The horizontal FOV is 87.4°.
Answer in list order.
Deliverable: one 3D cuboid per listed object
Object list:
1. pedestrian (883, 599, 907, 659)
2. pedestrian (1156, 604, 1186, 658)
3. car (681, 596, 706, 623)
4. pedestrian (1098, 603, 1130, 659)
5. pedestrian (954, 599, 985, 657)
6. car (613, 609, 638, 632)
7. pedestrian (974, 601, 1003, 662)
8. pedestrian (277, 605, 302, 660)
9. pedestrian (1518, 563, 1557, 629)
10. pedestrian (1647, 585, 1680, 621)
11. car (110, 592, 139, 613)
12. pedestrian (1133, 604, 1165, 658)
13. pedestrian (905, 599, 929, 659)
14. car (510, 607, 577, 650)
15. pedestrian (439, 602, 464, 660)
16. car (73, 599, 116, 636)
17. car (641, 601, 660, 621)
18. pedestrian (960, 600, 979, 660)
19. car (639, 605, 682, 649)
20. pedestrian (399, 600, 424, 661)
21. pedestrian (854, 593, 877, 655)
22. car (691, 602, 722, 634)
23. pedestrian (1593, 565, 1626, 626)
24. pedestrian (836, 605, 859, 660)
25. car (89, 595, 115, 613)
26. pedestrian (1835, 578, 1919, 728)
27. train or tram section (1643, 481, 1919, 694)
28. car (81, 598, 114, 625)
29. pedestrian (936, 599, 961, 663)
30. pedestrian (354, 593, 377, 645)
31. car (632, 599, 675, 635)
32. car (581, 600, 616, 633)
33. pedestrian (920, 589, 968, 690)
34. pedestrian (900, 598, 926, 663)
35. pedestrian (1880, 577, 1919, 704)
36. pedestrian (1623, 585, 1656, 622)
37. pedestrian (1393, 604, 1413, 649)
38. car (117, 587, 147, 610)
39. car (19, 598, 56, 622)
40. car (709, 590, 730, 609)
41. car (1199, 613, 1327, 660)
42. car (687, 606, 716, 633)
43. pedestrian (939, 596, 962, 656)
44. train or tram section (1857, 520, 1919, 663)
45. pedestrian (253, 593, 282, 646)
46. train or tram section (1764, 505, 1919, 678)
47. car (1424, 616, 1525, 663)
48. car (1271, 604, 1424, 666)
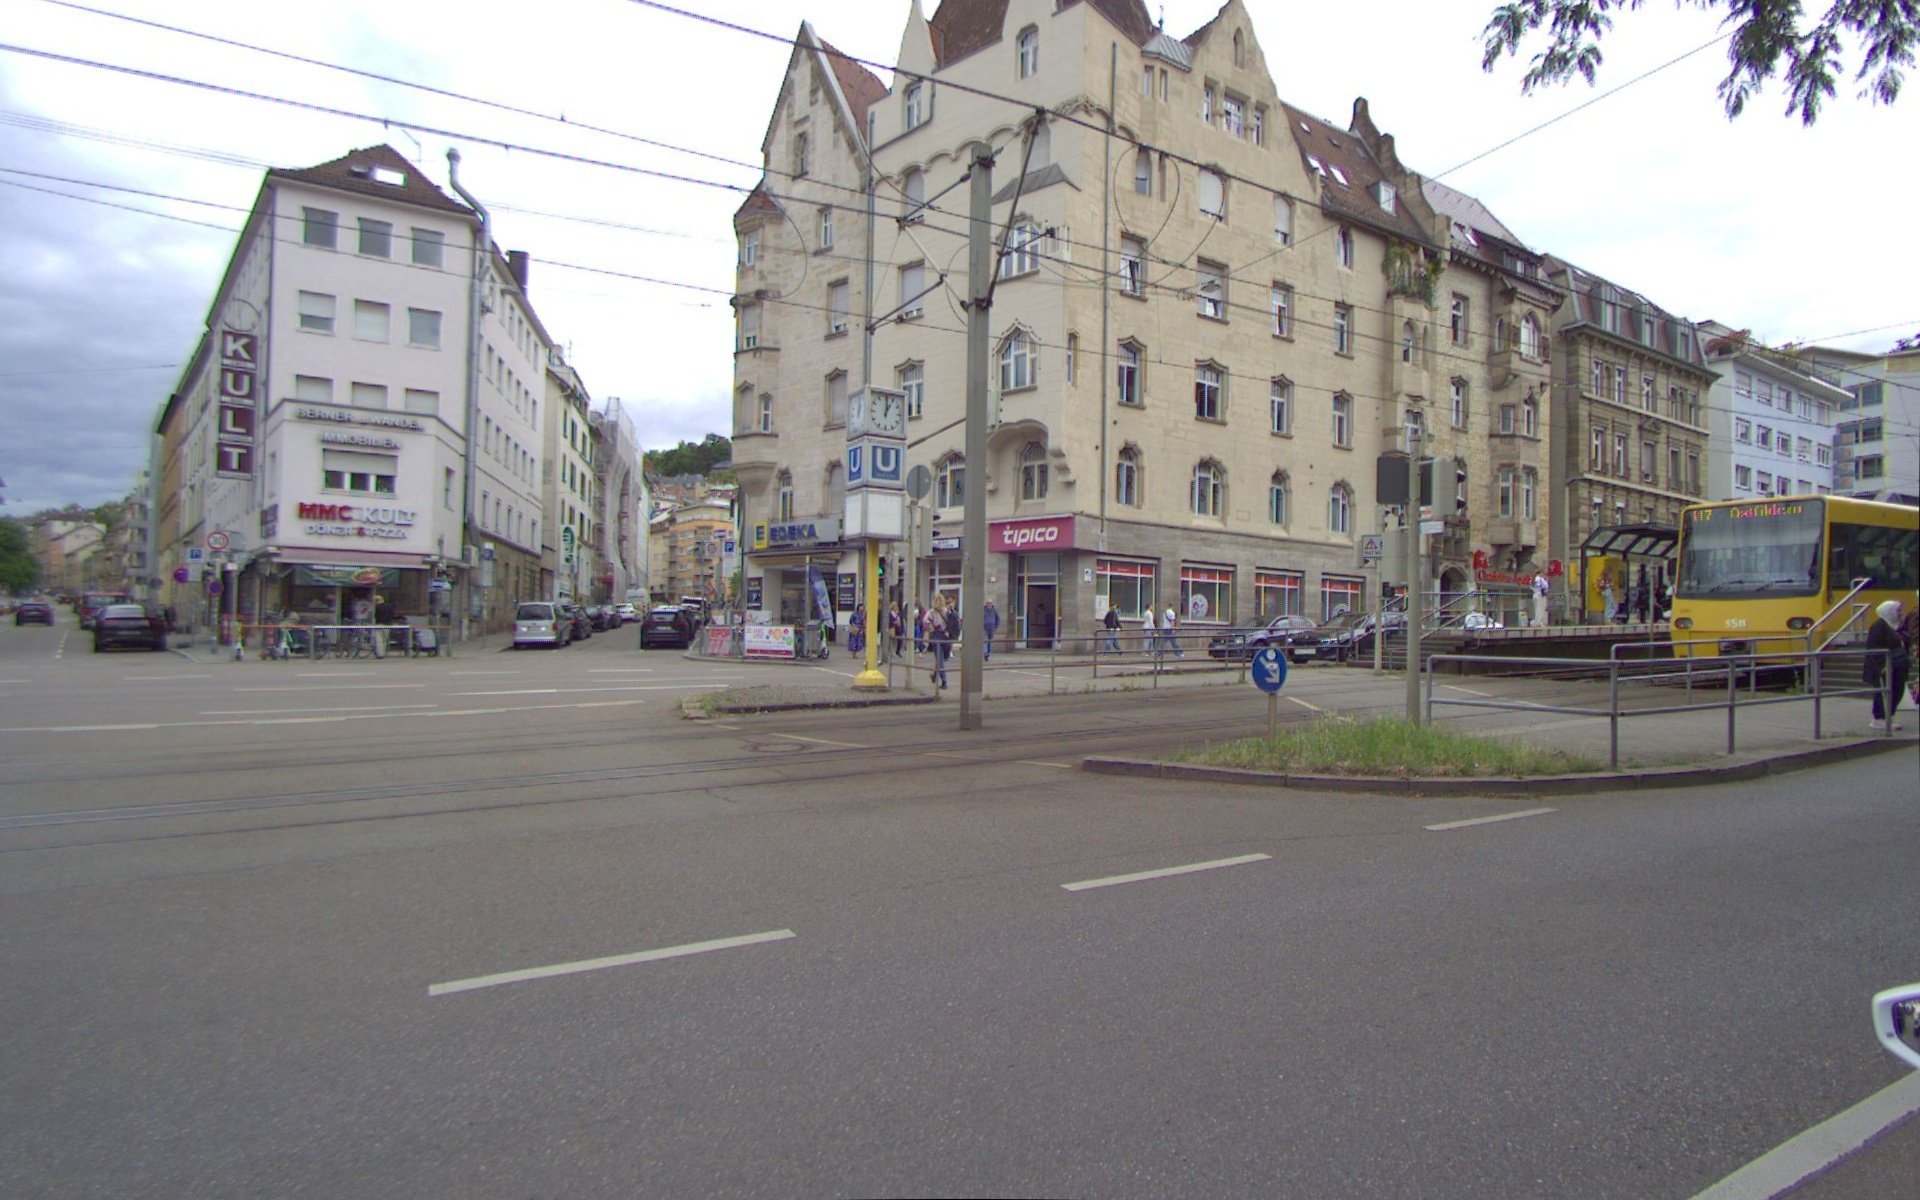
[{"bbox_3d":[-1.956,0.870,30.286,0.569,1.803,0.508,1,-1,-25],"label":"pedestrian"},{"bbox_3d":[6.756,0.990,32.157,0.701,1.728,0.601,1,-1,-26],"label":"pedestrian"},{"bbox_3d":[-18.373,0.690,69.278,1.610,1.768,3.772,0,-3,-16],"label":"car"},{"bbox_3d":[4.884,0.978,31.878,0.645,1.728,0.779,1,-1,-26],"label":"pedestrian"},{"bbox_3d":[0.305,0.881,31.824,0.808,1.803,0.574,1,-1,-22],"label":"pedestrian"},{"bbox_3d":[-24.269,1.497,72.897,1.611,1.599,3.769,0,-1,-17],"label":"car"},{"bbox_3d":[0.804,0.898,28.718,0.679,1.699,0.674,1,-1,-14],"label":"pedestrian"},{"bbox_3d":[-22.262,1.076,33.343,0.568,1.803,0.509,1,-1,-20],"label":"pedestrian"},{"bbox_3d":[15.371,-0.105,26.742,0.655,1.734,0.684,0,0,-33],"label":"pedestrian"},{"bbox_3d":[22.299,0.106,31.830,0.682,1.122,0.632,0,0,-32],"label":"pedestrian"},{"bbox_3d":[-69.890,0.241,84.052,1.635,1.734,3.611,1,-1,-37],"label":"car"},{"bbox_3d":[6.228,1.008,33.040,0.714,1.728,0.779,1,-1,-26],"label":"pedestrian"},{"bbox_3d":[-1.302,0.877,30.306,0.570,1.803,0.507,1,-1,-30],"label":"pedestrian"},{"bbox_3d":[-16.694,1.121,40.446,1.724,1.581,4.503,1,0,-13],"label":"car"},{"bbox_3d":[-16.201,0.984,32.016,0.502,1.803,0.576,0,-1,-6],"label":"pedestrian"},{"bbox_3d":[-50.601,1.065,58.787,1.635,1.732,3.615,2,-8,-37],"label":"car"},{"bbox_3d":[-28.731,1.032,93.291,1.611,1.768,3.770,0,-3,-17],"label":"car"},{"bbox_3d":[0.278,0.910,30.343,0.565,1.803,0.511,0,-1,-1],"label":"pedestrian"},{"bbox_3d":[-12.262,1.123,41.095,1.611,1.706,3.770,0,-3,-17],"label":"car"},{"bbox_3d":[-16.355,0.897,29.946,0.568,1.803,0.509,1,-1,-20],"label":"pedestrian"},{"bbox_3d":[-2.809,0.714,29.887,0.505,1.803,0.573,1,-1,-27],"label":"pedestrian"},{"bbox_3d":[-14.978,1.111,59.336,1.611,1.768,3.770,0,-3,-17],"label":"car"},{"bbox_3d":[18.706,-0.116,28.945,0.684,1.734,0.630,0,0,-41],"label":"pedestrian"},{"bbox_3d":[-3.318,0.947,29.654,0.505,1.603,0.572,1,-1,-29],"label":"pedestrian"},{"bbox_3d":[-81.335,0.402,95.255,1.635,1.734,3.611,1,-1,-37],"label":"car"},{"bbox_3d":[11.099,0.618,12.099,0.862,1.734,0.632,0,0,-32],"label":"pedestrian"},{"bbox_3d":[16.734,-0.214,20.254,5.687,3.728,2.820,0,1,-32],"label":"train or tram section"},{"bbox_3d":[-56.947,0.762,66.376,1.377,1.763,3.611,1,-1,-37],"label":"car"},{"bbox_3d":[-0.335,0.868,28.491,0.568,1.803,0.509,1,-1,-18],"label":"pedestrian"},{"bbox_3d":[-20.973,0.670,35.452,0.589,1.803,0.509,1,-1,-20],"label":"pedestrian"},{"bbox_3d":[-16.194,0.961,53.284,2.021,1.768,4.655,0,-3,-15],"label":"car"},{"bbox_3d":[-19.831,0.878,55.211,1.611,1.769,3.769,0,0,-17],"label":"car"},{"bbox_3d":[-0.292,0.682,17.655,0.796,1.728,0.877,0,-1,-3],"label":"pedestrian"},{"bbox_3d":[-1.320,0.865,28.274,0.586,1.803,0.709,1,-1,-16],"label":"pedestrian"},{"bbox_3d":[13.378,0.554,13.988,0.704,1.734,0.682,0,0,-32],"label":"pedestrian"},{"bbox_3d":[20.956,0.123,30.969,0.682,1.122,0.632,0,0,-32],"label":"pedestrian"},{"bbox_3d":[17.977,1.061,40.741,0.616,1.786,0.847,0,-1,16],"label":"pedestrian"},{"bbox_3d":[-63.684,-0.109,77.282,1.635,1.734,3.611,1,-1,-37],"label":"car"},{"bbox_3d":[-68.538,0.755,74.668,1.911,1.734,4.438,1,-1,-42],"label":"car"},{"bbox_3d":[-21.582,-0.011,89.996,1.611,1.599,3.769,0,-1,-17],"label":"car"},{"bbox_3d":[9.382,1.126,31.054,3.735,1.393,1.626,1,-3,-28],"label":"car"},{"bbox_3d":[-16.434,1.277,63.721,1.611,1.615,3.671,0,-3,-17],"label":"car"},{"bbox_3d":[-0.289,0.775,30.641,0.654,1.803,0.790,0,-1,-1],"label":"pedestrian"},{"bbox_3d":[26.391,-0.193,26.300,5.687,3.568,2.820,0,1,-32],"label":"train or tram section"},{"bbox_3d":[-22.961,0.634,33.313,0.645,1.728,0.779,1,-1,-26],"label":"pedestrian"},{"bbox_3d":[21.566,-0.172,23.283,5.687,3.568,2.820,0,1,-32],"label":"train or tram section"},{"bbox_3d":[18.317,1.397,35.730,3.558,1.544,1.551,1,0,-31],"label":"car"},{"bbox_3d":[10.704,0.950,27.717,3.953,1.595,1.898,1,0,-31],"label":"car"}]
